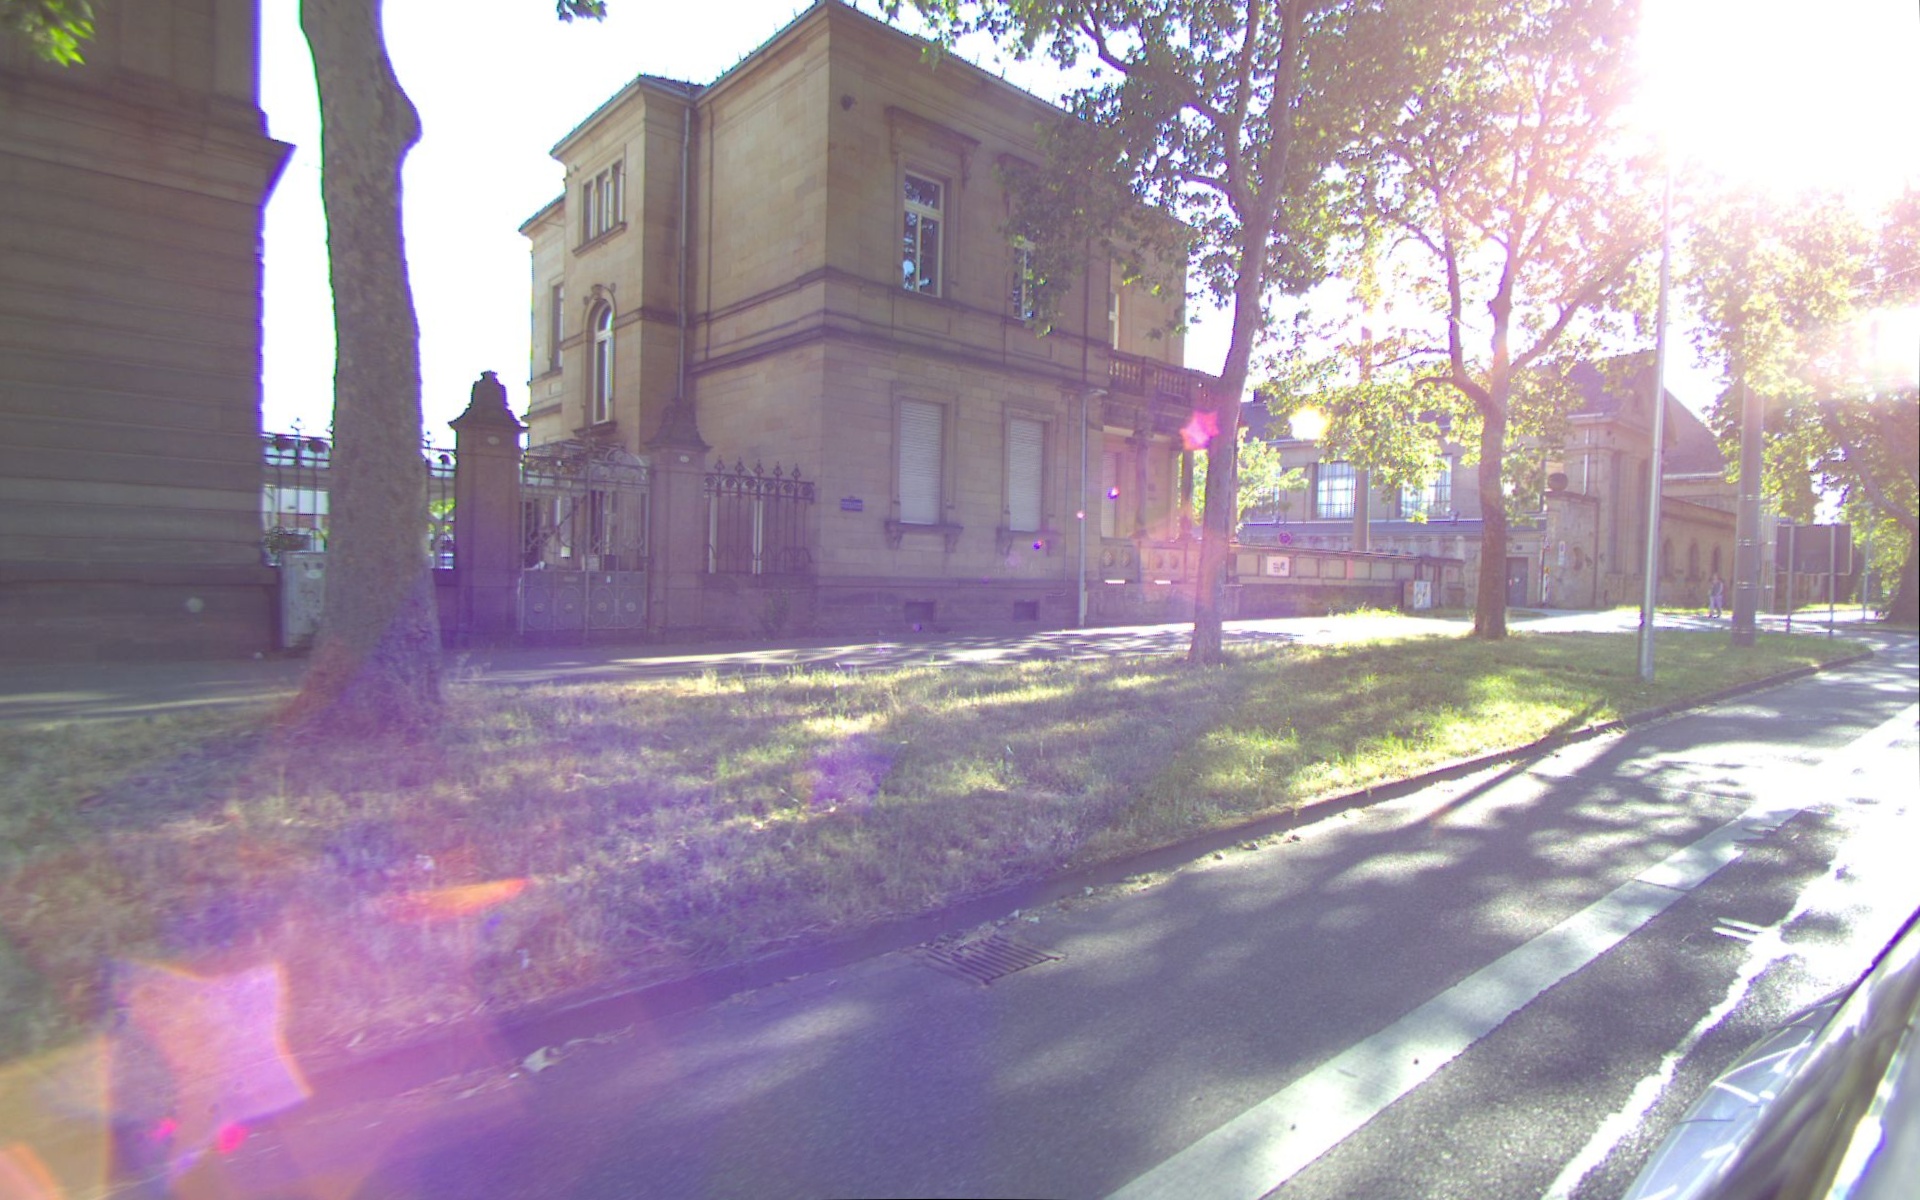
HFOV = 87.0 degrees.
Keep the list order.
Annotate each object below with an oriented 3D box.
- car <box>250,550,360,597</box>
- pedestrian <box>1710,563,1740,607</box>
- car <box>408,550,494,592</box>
[{"bbox_3d":[-22.064,-0.940,34.284,1.736,1.437,4.093,1,2,-11],"label":"car"},{"bbox_3d":[29.764,-0.589,39.374,0.859,1.682,0.672,0,3,-40],"label":"pedestrian"},{"bbox_3d":[-18.489,-1.097,36.937,1.736,1.437,4.093,1,2,-11],"label":"car"}]
